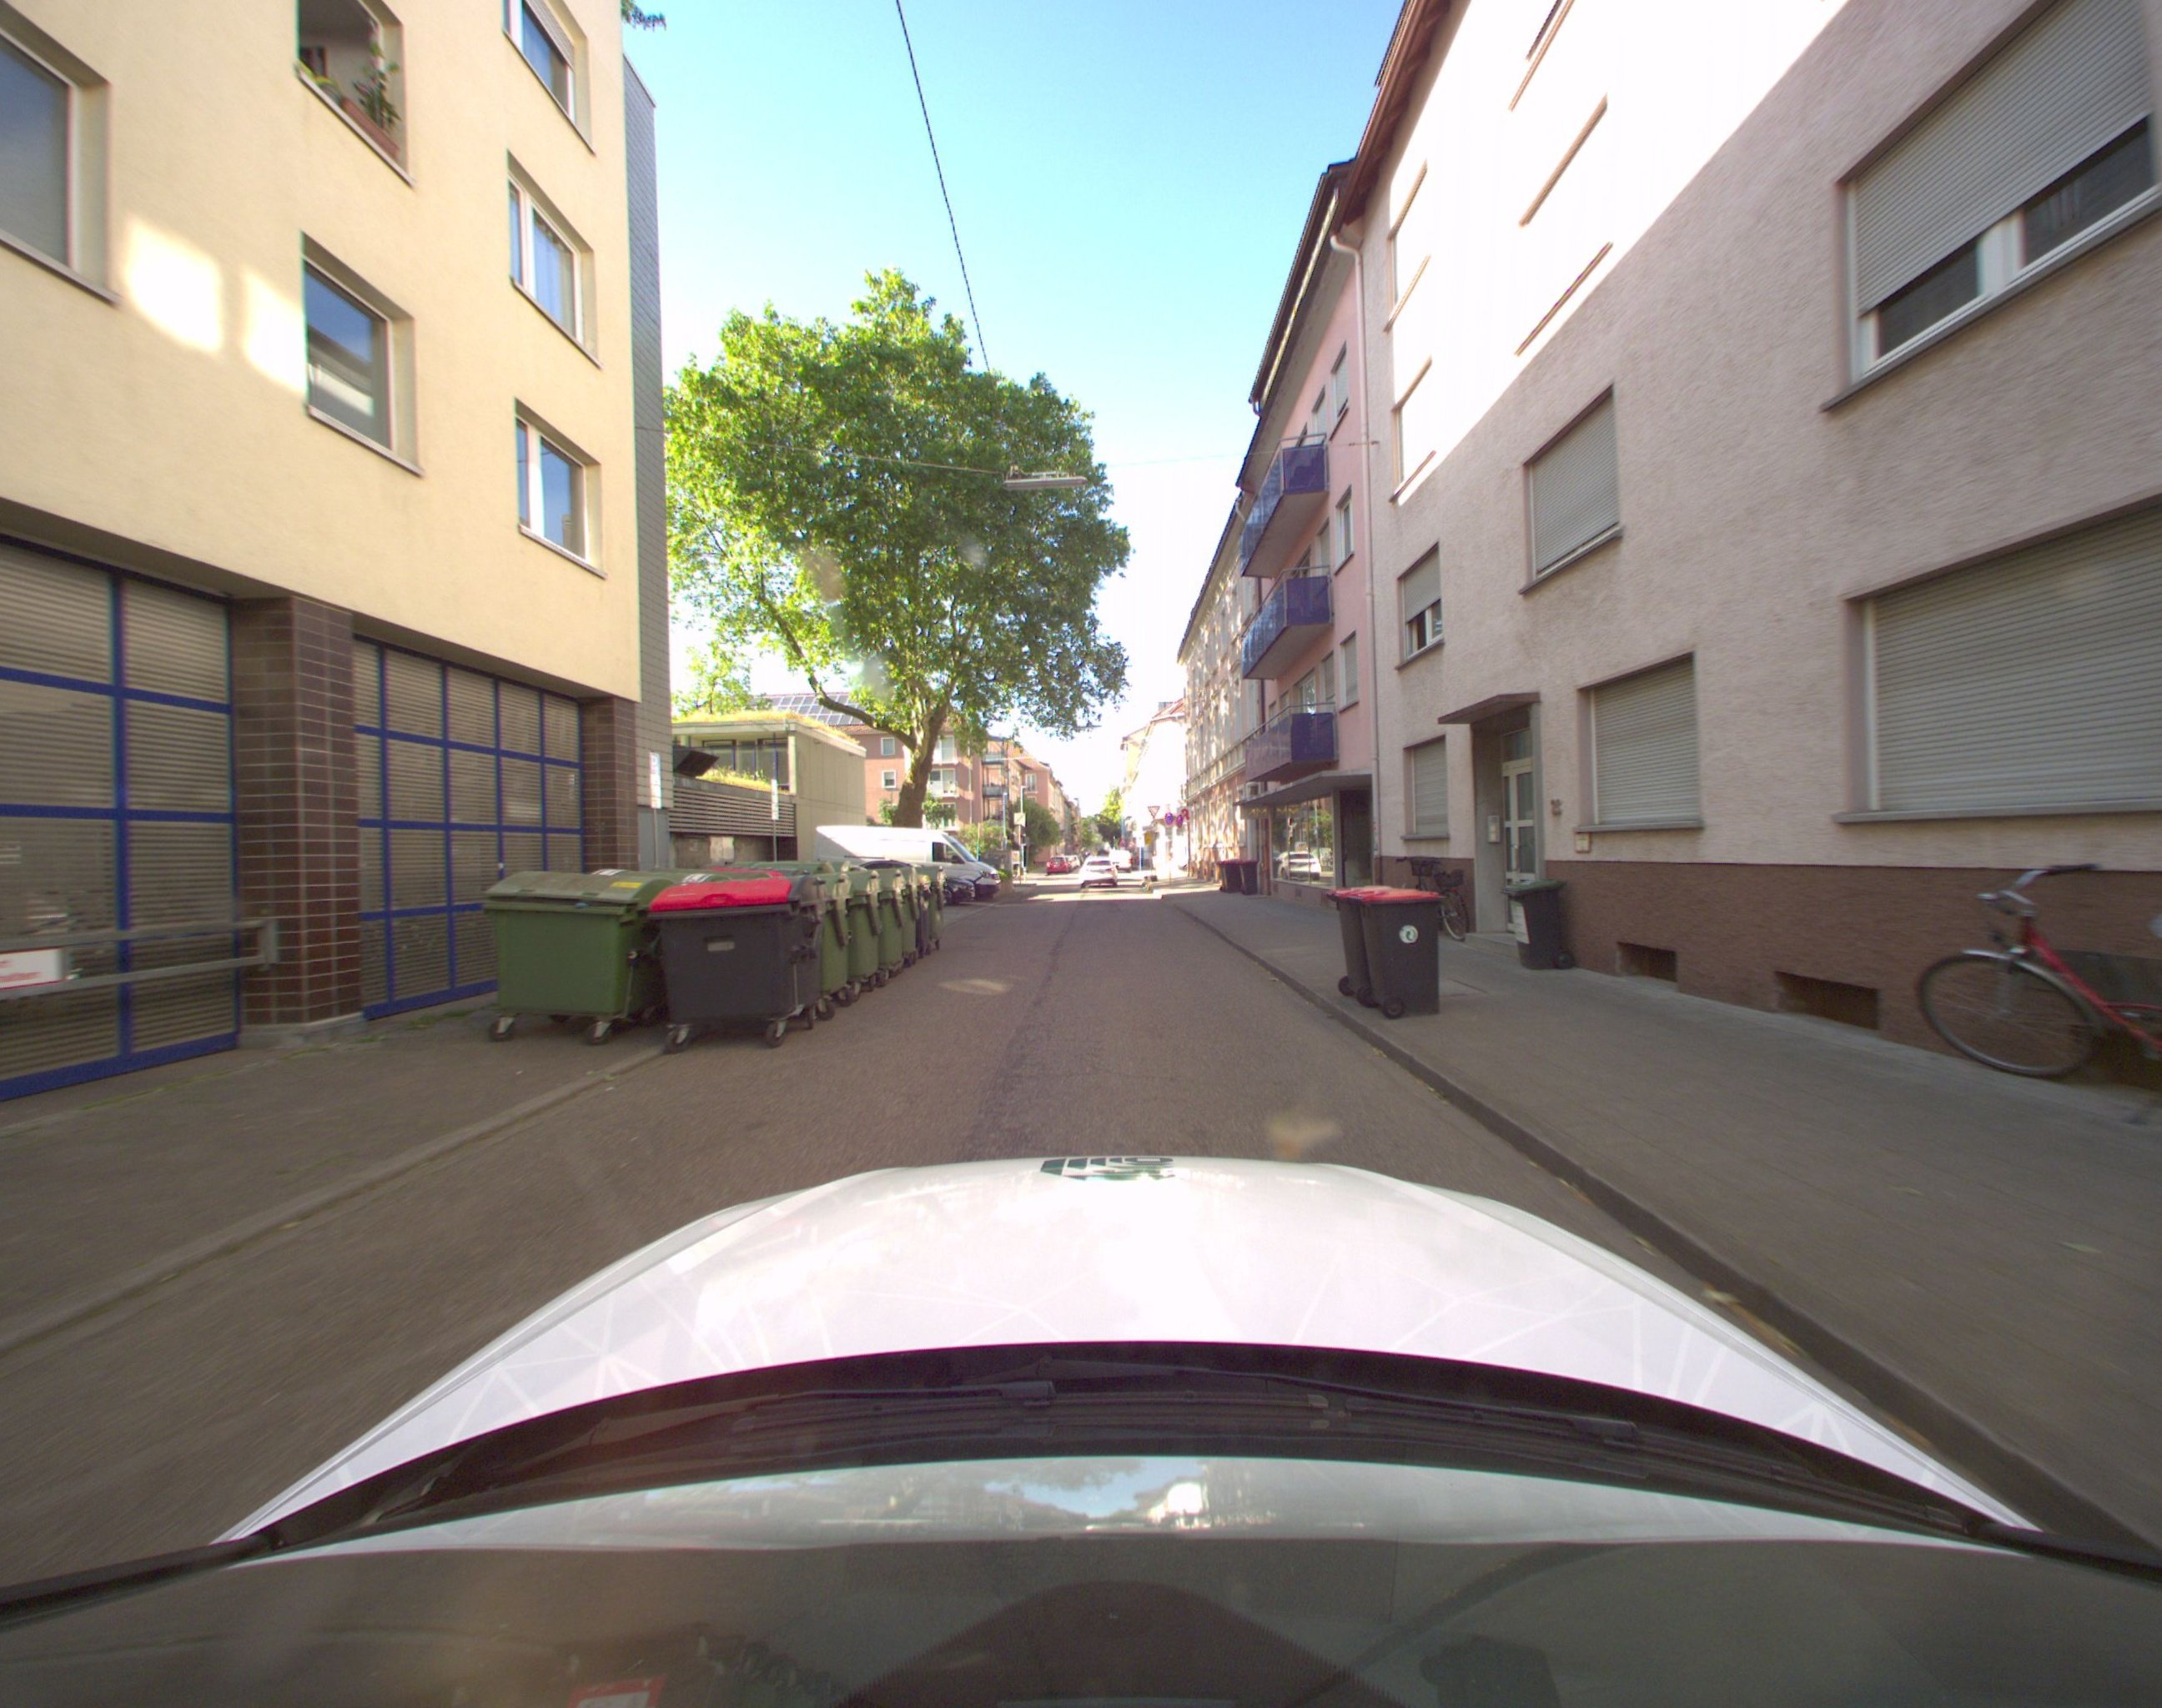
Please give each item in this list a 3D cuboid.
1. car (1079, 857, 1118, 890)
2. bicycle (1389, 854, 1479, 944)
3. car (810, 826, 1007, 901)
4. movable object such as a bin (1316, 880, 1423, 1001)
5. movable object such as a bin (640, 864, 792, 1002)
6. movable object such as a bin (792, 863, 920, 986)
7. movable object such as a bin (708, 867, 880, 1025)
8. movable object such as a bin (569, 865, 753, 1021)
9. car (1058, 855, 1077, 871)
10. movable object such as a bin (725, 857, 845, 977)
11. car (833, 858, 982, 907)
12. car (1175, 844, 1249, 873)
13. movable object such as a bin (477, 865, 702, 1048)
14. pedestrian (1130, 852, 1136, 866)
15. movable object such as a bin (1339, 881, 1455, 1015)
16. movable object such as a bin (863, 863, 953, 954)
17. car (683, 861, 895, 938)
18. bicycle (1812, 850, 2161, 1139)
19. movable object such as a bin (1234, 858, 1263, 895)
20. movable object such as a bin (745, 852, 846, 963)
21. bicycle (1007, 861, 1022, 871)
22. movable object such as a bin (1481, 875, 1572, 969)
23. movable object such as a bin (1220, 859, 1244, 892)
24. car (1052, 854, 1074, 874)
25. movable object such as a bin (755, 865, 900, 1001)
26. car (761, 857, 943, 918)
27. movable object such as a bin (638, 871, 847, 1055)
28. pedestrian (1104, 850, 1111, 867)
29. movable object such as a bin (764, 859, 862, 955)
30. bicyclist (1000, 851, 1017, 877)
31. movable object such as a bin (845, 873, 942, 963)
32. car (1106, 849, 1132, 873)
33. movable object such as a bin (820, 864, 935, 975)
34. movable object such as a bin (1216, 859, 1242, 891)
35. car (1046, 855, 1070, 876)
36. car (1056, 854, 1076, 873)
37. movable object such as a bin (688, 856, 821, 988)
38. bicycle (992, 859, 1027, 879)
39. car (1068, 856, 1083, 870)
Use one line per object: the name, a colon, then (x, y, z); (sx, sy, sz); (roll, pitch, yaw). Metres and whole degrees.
car: (0.854, 0.934, 40.791); (1.817, 1.514, 3.824); (-2, 0, 1)
bicycle: (4.962, 0.592, 11.571); (0.451, 1.134, 1.921); (-4, -1, 3)
car: (-6.245, 0.345, 30.109); (6.711, 2.555, 2.147); (1, -1, 2)
movable object such as a bin: (2.771, 0.813, 7.888); (0.765, 1.086, 0.693); (-2, -1, 2)
movable object such as a bin: (-4.283, 0.892, 9.654); (1.297, 1.522, 1.018); (-1, -1, 1)
movable object such as a bin: (-2.903, 0.890, 10.650); (1.338, 1.499, 1.018); (-1, -1, 1)
movable object such as a bin: (-2.966, 0.914, 8.569); (1.329, 1.484, 1.094); (-3, -1, 1)
movable object such as a bin: (-4.361, 0.879, 8.578); (1.301, 1.499, 1.157); (-1, -1, 1)
car: (-1.366, 0.946, 84.713); (1.714, 1.576, 3.727); (-2, -1, 2)
movable object such as a bin: (-4.222, 0.872, 11.721); (1.284, 1.604, 1.082); (-1, -1, 1)
car: (-5.743, 0.913, 27.296); (4.482, 1.471, 1.930); (1, 0, 2)
car: (9.425, 0.363, 58.551); (4.844, 1.929, 2.011); (-2, -2, 26)
movable object such as a bin: (-4.399, 0.868, 7.420); (1.292, 1.498, 1.179); (-1, -1, 1)
pedestrian: (6.397, 0.607, 100.681); (0.615, 1.733, 0.560); (-2, -1, 0)
movable object such as a bin: (2.760, 0.797, 7.174); (0.729, 1.081, 0.704); (-2, -1, 2)
movable object such as a bin: (-2.916, 0.898, 13.909); (1.297, 1.451, 1.116); (-1, -1, -3)
car: (-6.194, 0.944, 17.607); (3.863, 1.505, 1.826); (-1, -1, 0)
bicycle: (4.787, 0.593, 3.952); (0.535, 1.170, 2.077); (-6, 0, 1)
movable object such as a bin: (5.220, 0.701, 25.382); (0.727, 1.104, 0.693); (-2, -1, -1)
movable object such as a bin: (-4.516, 0.821, 12.994); (1.225, 1.653, 1.172); (-1, -1, -5)
bicycle: (-6.414, 1.155, 78.168); (0.607, 0.932, 1.895); (-1, -1, -32)
movable object such as a bin: (4.810, 0.720, 8.831); (0.595, 0.951, 0.682); (-2, -1, 2)
movable object such as a bin: (5.063, 0.719, 27.330); (0.698, 1.073, 0.597); (-2, -1, 3)
car: (-1.557, 0.872, 72.411); (1.714, 1.682, 3.728); (-2, 0, 2)
movable object such as a bin: (-2.949, 0.888, 9.614); (1.344, 1.487, 1.003); (-1, -1, 1)
car: (-6.164, 0.891, 22.353); (4.453, 1.610, 1.915); (0, -1, -2)
movable object such as a bin: (-2.999, 0.926, 7.395); (1.315, 1.450, 1.187); (-3, -1, 1)
pedestrian: (3.265, 0.565, 99.965); (0.768, 2.118, 0.835); (-2, -1, 2)
movable object such as a bin: (-4.624, 0.889, 14.154); (1.350, 1.549, 1.119); (-1, -1, -5)
bicyclist: (-4.798, 0.661, 54.138); (0.920, 1.720, 0.943); (-2, -1, 3)
movable object such as a bin: (-2.912, 0.976, 12.809); (1.236, 1.322, 1.046); (-1, -1, 1)
car: (3.241, 0.588, 69.963); (1.937, 1.948, 4.076); (-1, 0, -1)
movable object such as a bin: (-2.894, 0.906, 11.718); (1.329, 1.491, 1.082); (-1, -1, 1)
movable object such as a bin: (5.080, 0.719, 27.962); (0.742, 1.086, 0.635); (-2, -1, 3)
car: (-1.887, 0.906, 66.815); (1.764, 1.589, 3.726); (-2, 1, 1)
car: (-1.420, 0.903, 77.925); (1.629, 1.656, 3.786); (-2, -1, 2)
movable object such as a bin: (-4.232, 0.851, 10.657); (1.290, 1.620, 1.018); (-1, -1, 1)
bicycle: (-4.722, 1.010, 54.102); (2.154, 1.255, 0.834); (-2, -1, 3)
car: (-0.665, 1.081, 99.028); (1.566, 1.585, 3.612); (-2, -1, 2)
